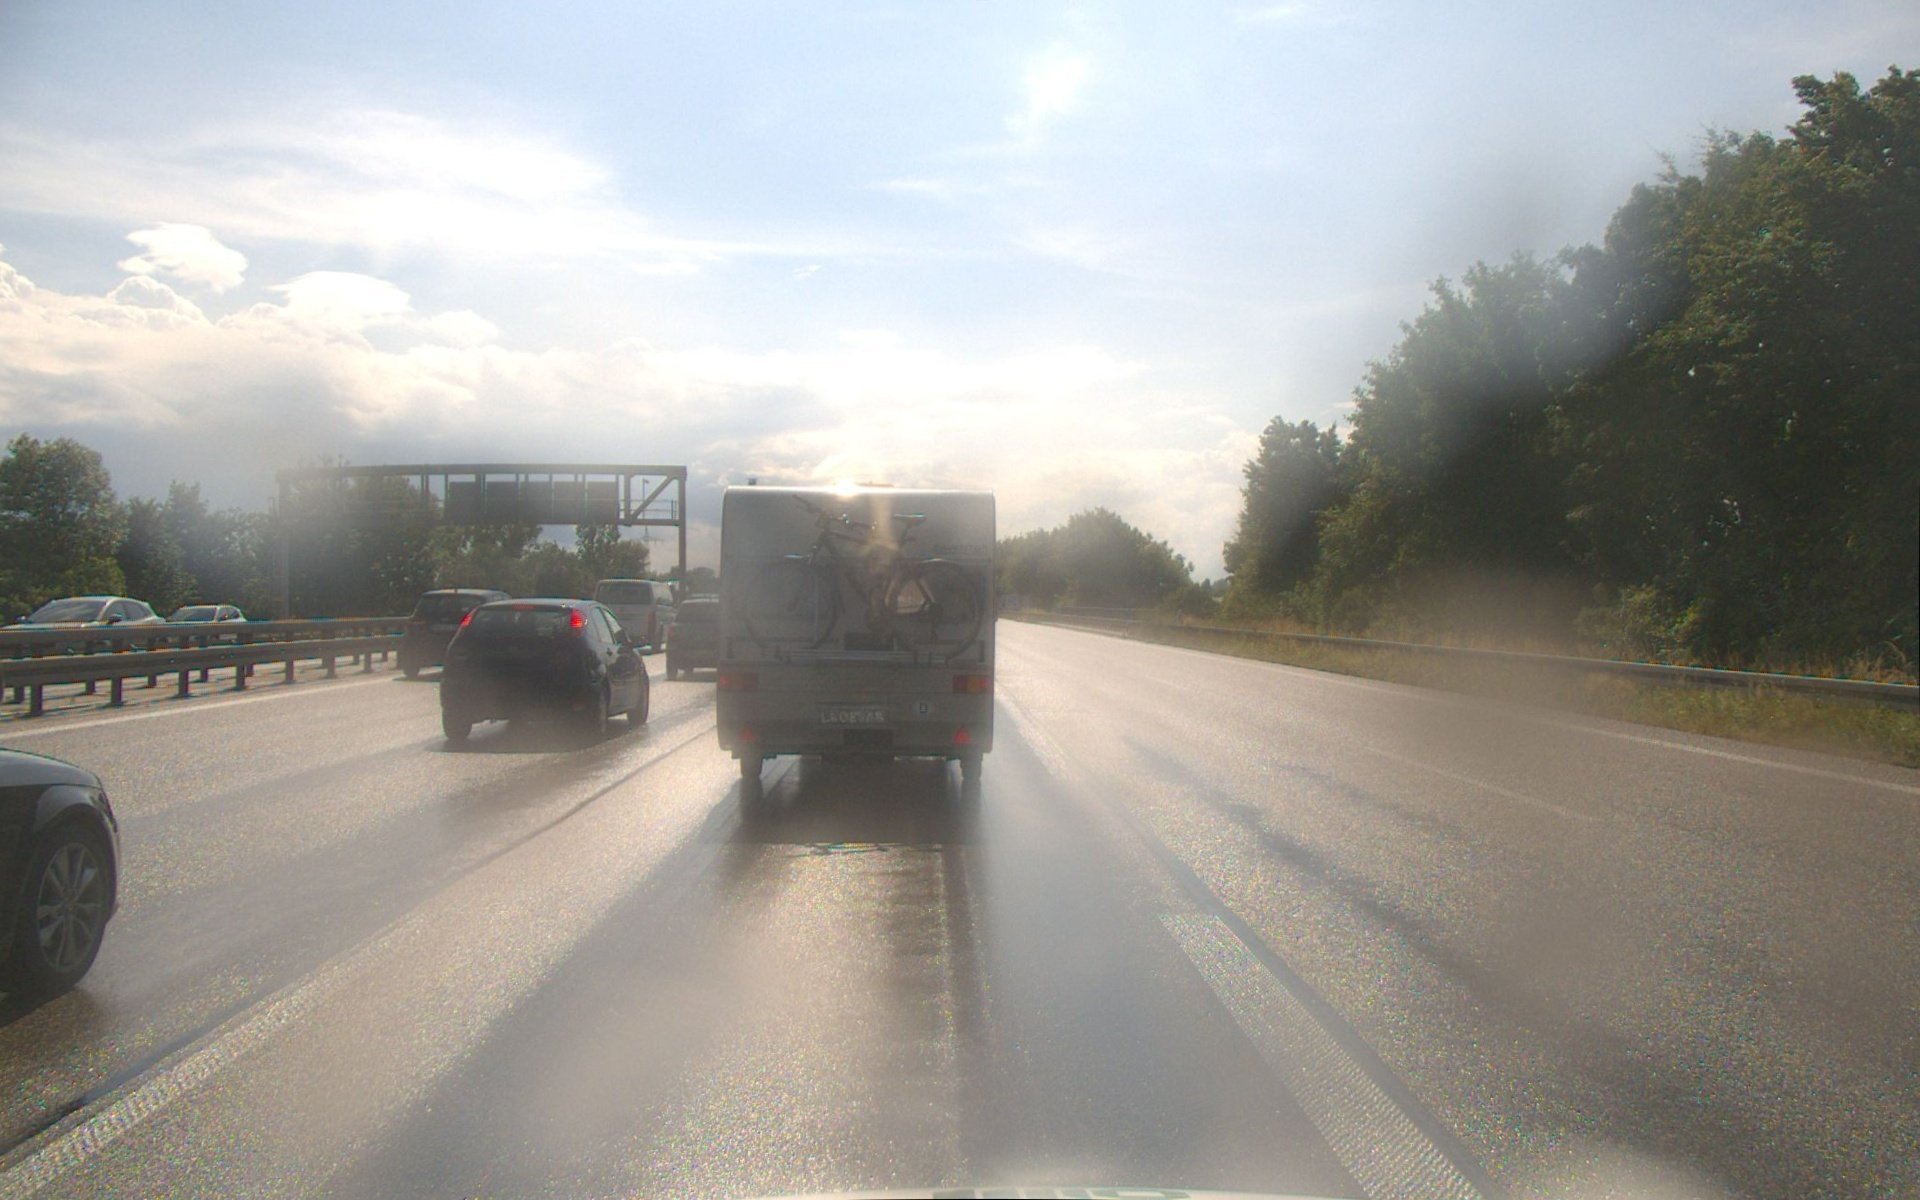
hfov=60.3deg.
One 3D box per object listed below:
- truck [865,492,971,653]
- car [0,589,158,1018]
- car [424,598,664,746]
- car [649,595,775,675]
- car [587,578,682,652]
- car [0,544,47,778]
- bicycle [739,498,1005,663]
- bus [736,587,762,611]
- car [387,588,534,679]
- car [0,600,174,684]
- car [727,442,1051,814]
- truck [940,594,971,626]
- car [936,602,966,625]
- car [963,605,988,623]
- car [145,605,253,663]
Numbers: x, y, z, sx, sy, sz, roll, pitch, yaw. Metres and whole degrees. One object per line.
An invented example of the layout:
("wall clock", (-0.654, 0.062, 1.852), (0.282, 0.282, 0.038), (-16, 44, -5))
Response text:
("truck", (-1.444, -0.806, 54.216), (3.083, 4.707, 10.730), (0, 0, -2))
("car", (-4.091, 0.684, 4.706), (1.715, 1.458, 4.053), (1, 0, -2))
("car", (-4.556, 0.726, 18.694), (1.723, 1.468, 3.999), (1, 0, -1))
("car", (-4.839, 0.651, 32.736), (1.947, 1.483, 3.826), (1, 0, -1))
("car", (-9.100, 0.390, 46.593), (1.810, 1.967, 5.014), (1, 0, -2))
("car", (-8.592, 0.482, 11.207), (1.769, 1.876, 5.418), (1, 0, 0))
("bicycle", (-0.633, -0.139, 12.088), (1.894, 1.161, 0.384), (1, -1, 0))
("bus", (-30.205, -0.114, 237.418), (2.881, 3.343, 12.203), (1, 0, -3))
("car", (-9.416, 0.594, 31.468), (1.747, 1.606, 3.914), (1, 0, -3))
("car", (-16.518, 0.741, 31.124), (1.808, 1.477, 3.631), (1, 0, -3))
("car", (-0.546, 0.220, 14.285), (2.361, 2.721, 3.999), (1, 0, -1))
("truck", (-0.388, 0.803, 134.080), (2.366, 2.486, 6.052), (1, 0, -1))
("car", (-0.657, 0.947, 115.379), (1.800, 1.585, 3.996), (1, 0, -5))
("car", (1.334, 1.163, 140.862), (1.839, 1.521, 3.997), (1, 0, -4))
("car", (-23.570, 1.024, 51.379), (1.698, 1.679, 3.808), (1, 0, -3))
